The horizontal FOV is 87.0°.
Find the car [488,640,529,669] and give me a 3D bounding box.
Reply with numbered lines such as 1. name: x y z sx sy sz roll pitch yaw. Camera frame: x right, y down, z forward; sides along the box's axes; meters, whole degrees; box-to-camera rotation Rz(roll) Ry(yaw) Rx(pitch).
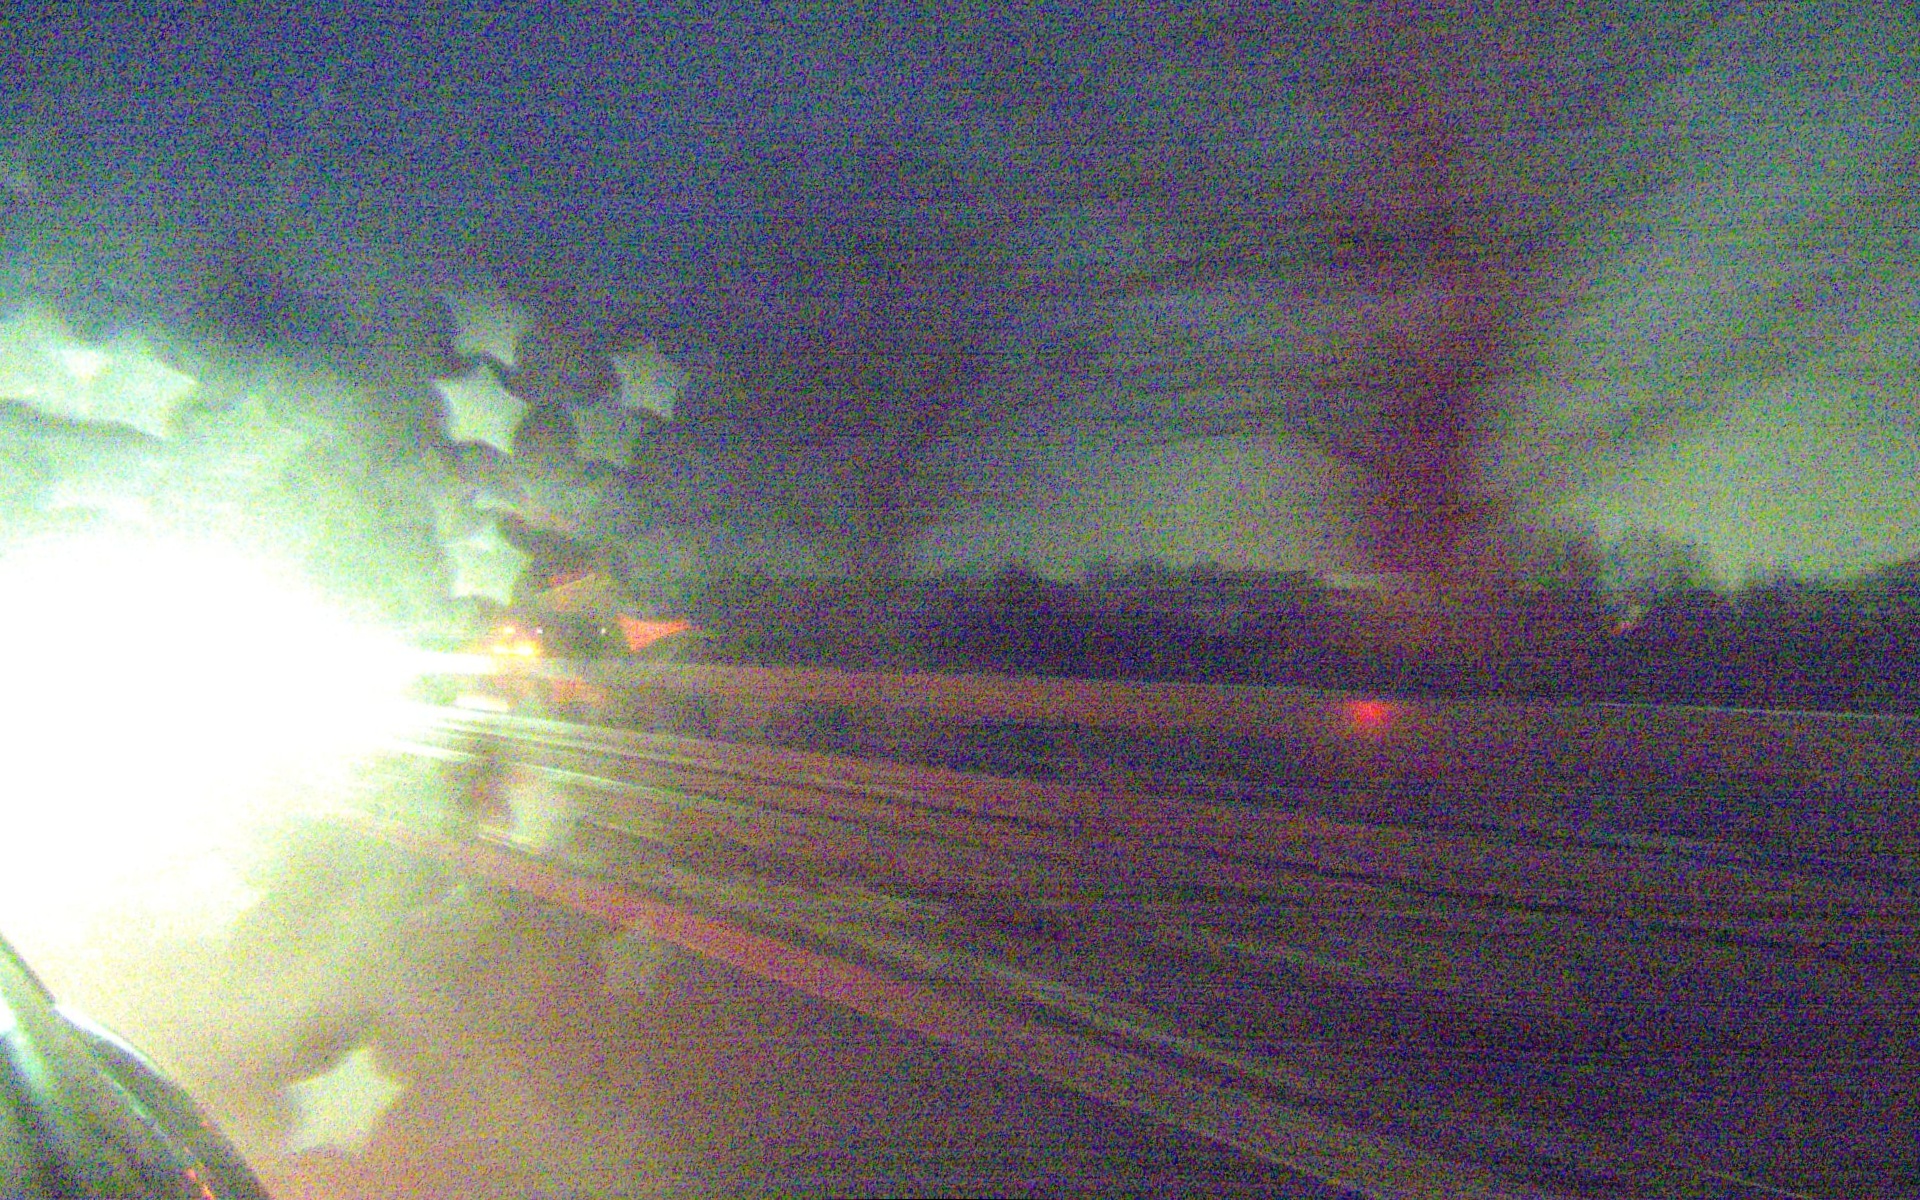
1. car: -25.654 3.079 57.433 1.702 1.409 3.941 3 -2 -29

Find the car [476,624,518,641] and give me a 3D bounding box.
1. car: -49.745 3.488 108.722 3.983 1.663 1.796 -2 1 -23
